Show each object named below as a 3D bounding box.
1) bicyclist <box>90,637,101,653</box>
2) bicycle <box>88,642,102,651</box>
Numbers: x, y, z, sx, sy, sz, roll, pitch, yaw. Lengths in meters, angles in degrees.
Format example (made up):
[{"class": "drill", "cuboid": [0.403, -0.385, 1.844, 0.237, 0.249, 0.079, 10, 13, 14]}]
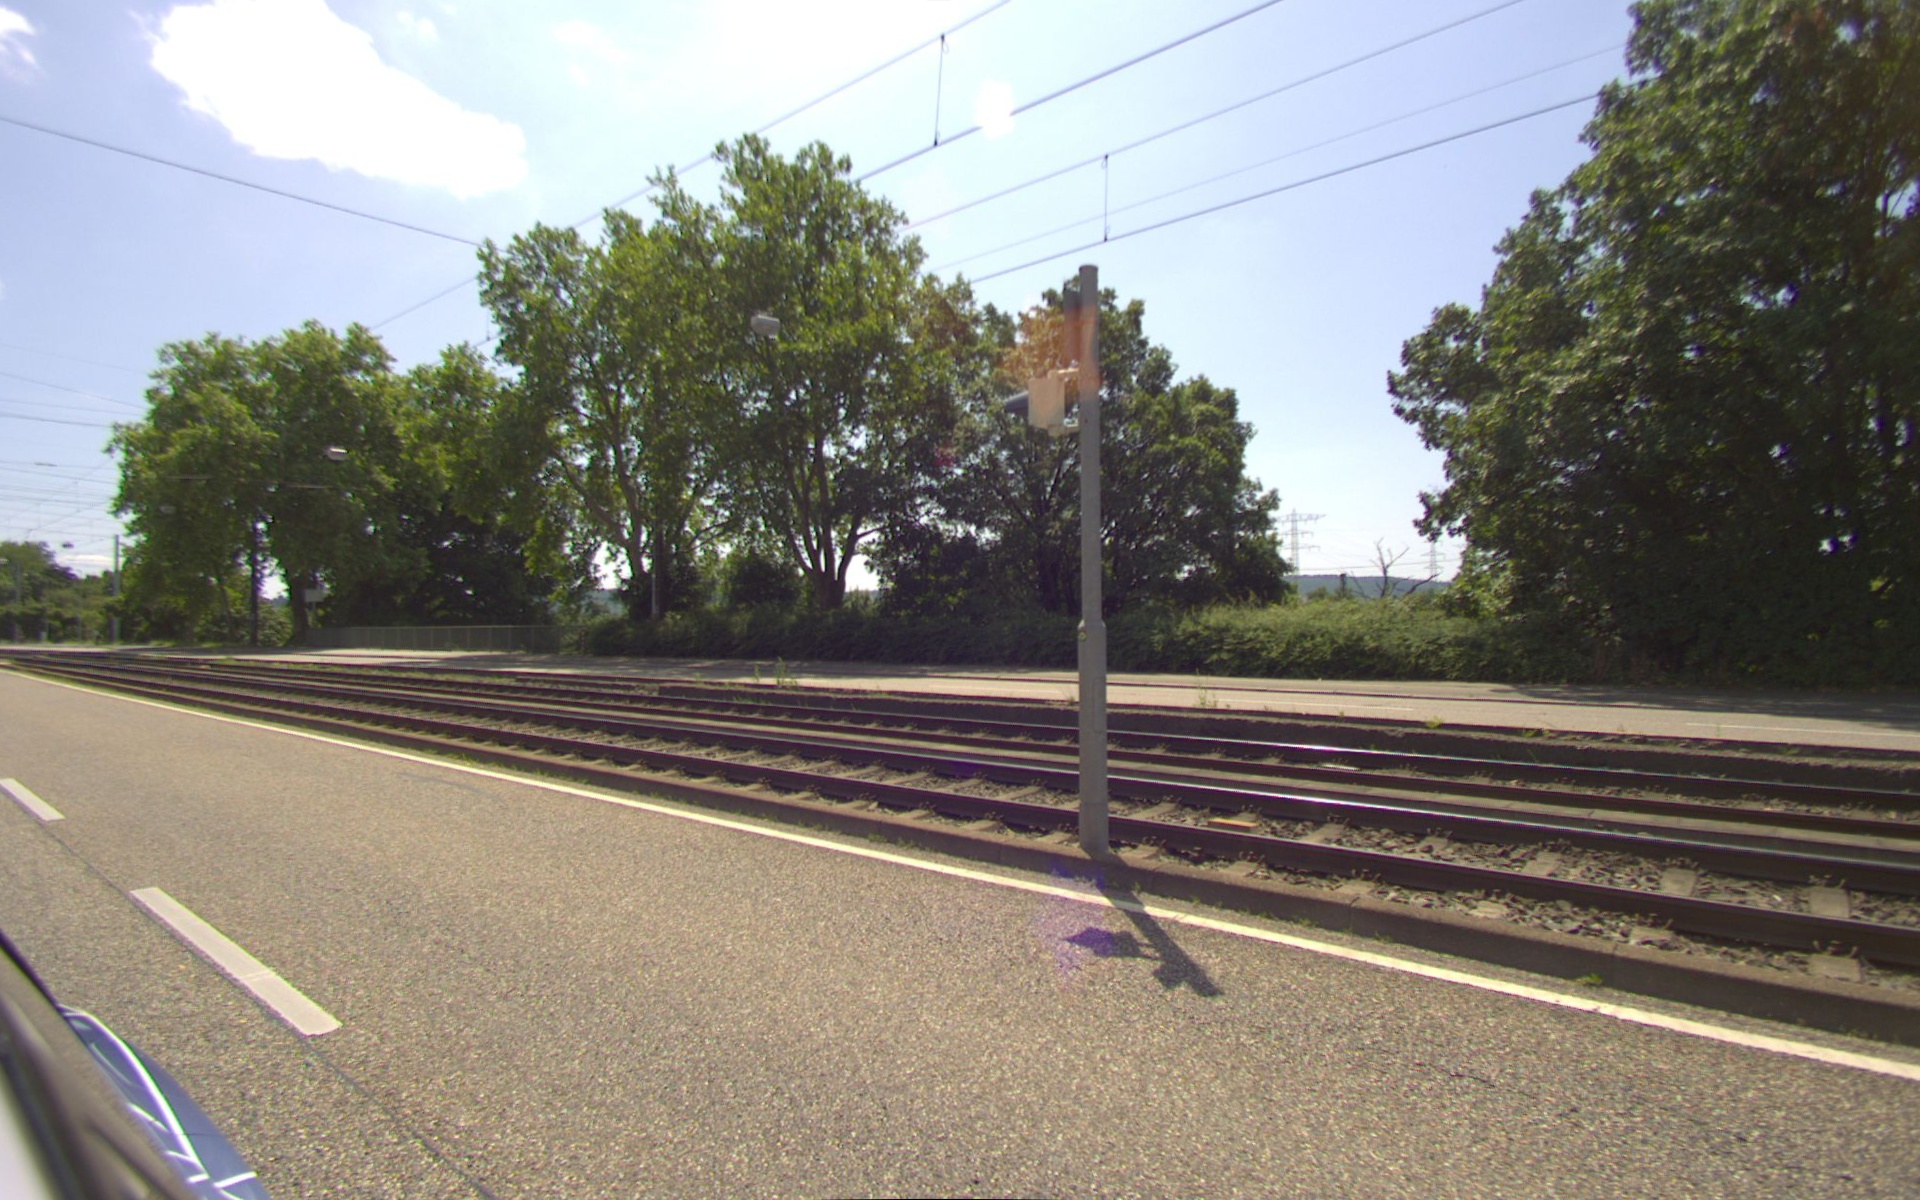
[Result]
[{"class": "bicyclist", "cuboid": [-86.478, 4.491, 101.199, 0.917, 1.495, 0.704, -2, -2, 39]}, {"class": "bicycle", "cuboid": [-86.638, 4.663, 101.334, 2.181, 0.924, 0.704, -2, -1, 40]}]
